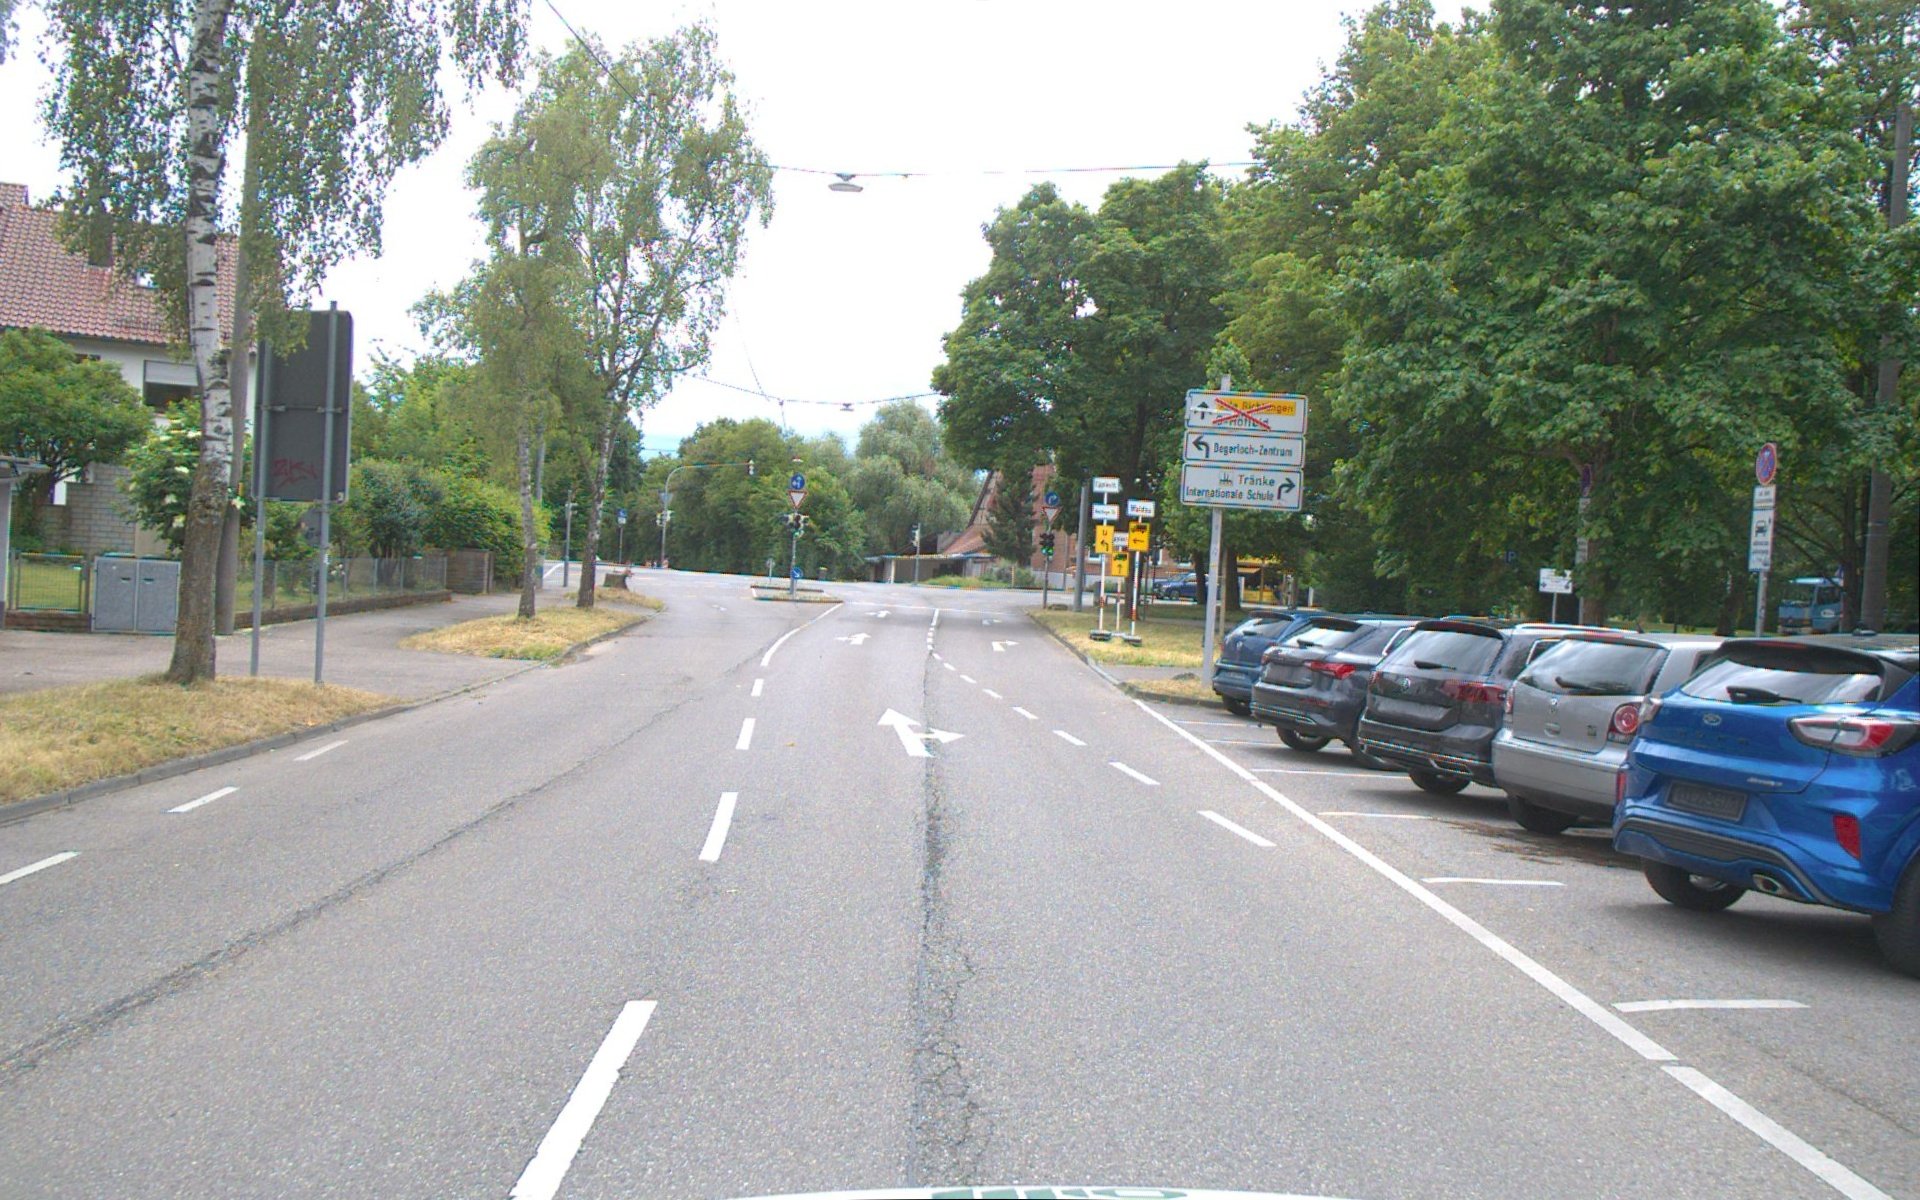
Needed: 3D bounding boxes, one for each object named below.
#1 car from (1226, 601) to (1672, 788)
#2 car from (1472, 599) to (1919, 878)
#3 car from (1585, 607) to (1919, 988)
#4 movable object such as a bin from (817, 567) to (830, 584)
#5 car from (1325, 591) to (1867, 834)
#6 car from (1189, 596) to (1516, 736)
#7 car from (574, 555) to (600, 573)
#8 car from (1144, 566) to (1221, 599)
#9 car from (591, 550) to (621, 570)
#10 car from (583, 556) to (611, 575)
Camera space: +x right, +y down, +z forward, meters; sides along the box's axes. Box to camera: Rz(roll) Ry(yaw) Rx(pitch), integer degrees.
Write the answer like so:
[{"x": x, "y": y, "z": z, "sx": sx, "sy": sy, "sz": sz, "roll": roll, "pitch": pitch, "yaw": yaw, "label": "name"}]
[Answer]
[{"x": 4.799, "y": 0.921, "z": 16.337, "sx": 3.815, "sy": 1.450, "sz": 1.820, "roll": 5, "pitch": -1, "yaw": -19, "label": "car"}, {"x": 5.648, "y": 0.956, "z": 11.260, "sx": 3.761, "sy": 1.555, "sz": 1.737, "roll": 5, "pitch": -1, "yaw": -19, "label": "car"}, {"x": 5.331, "y": 0.993, "z": 8.354, "sx": 3.761, "sy": 1.555, "sz": 1.737, "roll": 5, "pitch": -1, "yaw": -19, "label": "car"}, {"x": -8.817, "y": -1.584, "z": 106.496, "sx": 0.626, "sy": 1.019, "sz": 0.579, "roll": 3, "pitch": -1, "yaw": -29, "label": "movable object such as a bin"}, {"x": 5.069, "y": 0.888, "z": 13.258, "sx": 3.761, "sy": 1.555, "sz": 1.737, "roll": 5, "pitch": -1, "yaw": -19, "label": "car"}, {"x": 5.124, "y": 0.855, "z": 21.682, "sx": 3.761, "sy": 1.450, "sz": 1.737, "roll": 5, "pitch": -1, "yaw": -19, "label": "car"}, {"x": -32.033, "y": -3.066, "z": 141.972, "sx": 1.767, "sy": 1.434, "sz": 3.978, "roll": 2, "pitch": 1, "yaw": -19, "label": "car"}, {"x": 12.630, "y": -0.975, "z": 94.004, "sx": 3.789, "sy": 1.676, "sz": 1.988, "roll": 2, "pitch": 1, "yaw": -21, "label": "car"}, {"x": -28.327, "y": -3.215, "z": 132.334, "sx": 1.767, "sy": 1.538, "sz": 3.978, "roll": 2, "pitch": 1, "yaw": -19, "label": "car"}, {"x": -30.007, "y": -2.880, "z": 136.580, "sx": 1.767, "sy": 1.434, "sz": 3.978, "roll": 2, "pitch": 1, "yaw": -19, "label": "car"}]
